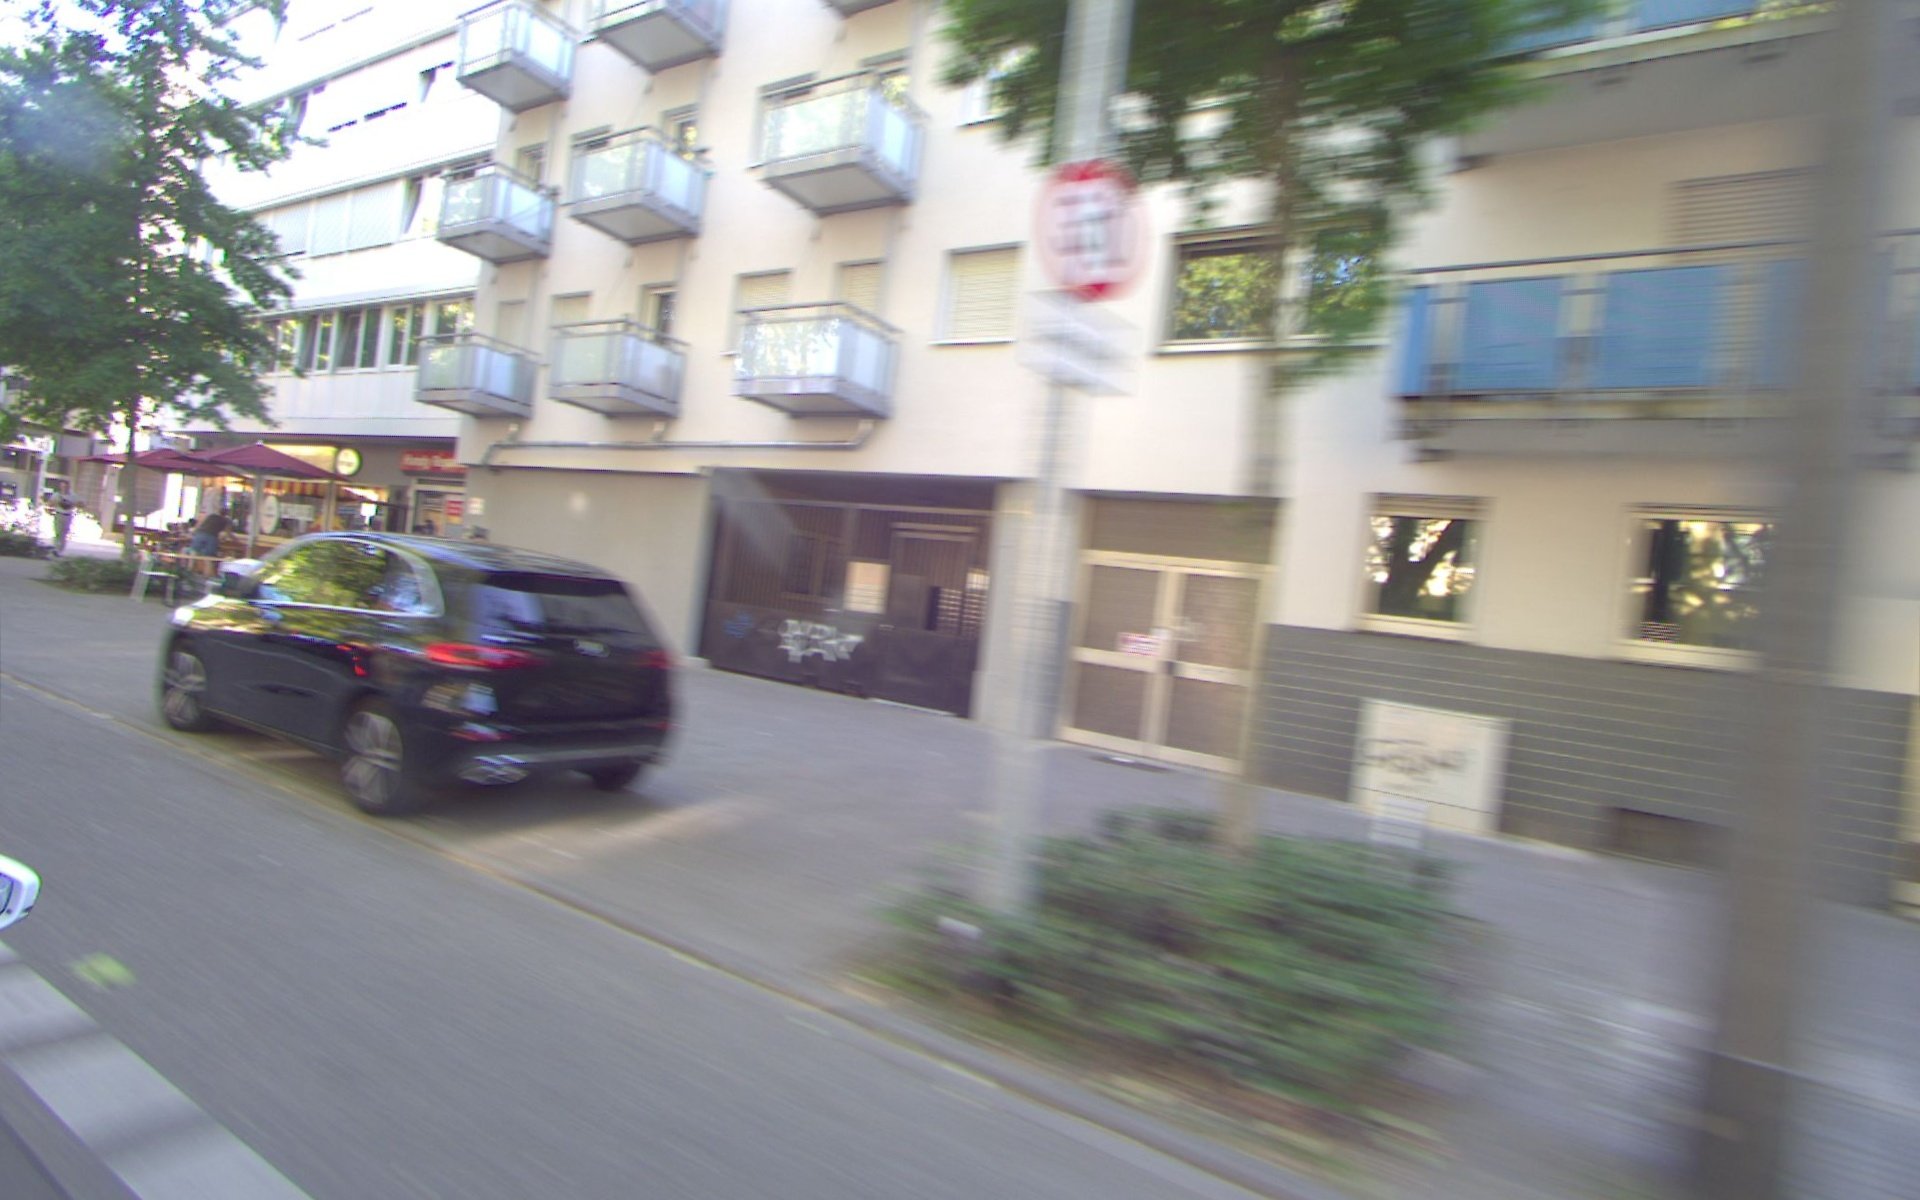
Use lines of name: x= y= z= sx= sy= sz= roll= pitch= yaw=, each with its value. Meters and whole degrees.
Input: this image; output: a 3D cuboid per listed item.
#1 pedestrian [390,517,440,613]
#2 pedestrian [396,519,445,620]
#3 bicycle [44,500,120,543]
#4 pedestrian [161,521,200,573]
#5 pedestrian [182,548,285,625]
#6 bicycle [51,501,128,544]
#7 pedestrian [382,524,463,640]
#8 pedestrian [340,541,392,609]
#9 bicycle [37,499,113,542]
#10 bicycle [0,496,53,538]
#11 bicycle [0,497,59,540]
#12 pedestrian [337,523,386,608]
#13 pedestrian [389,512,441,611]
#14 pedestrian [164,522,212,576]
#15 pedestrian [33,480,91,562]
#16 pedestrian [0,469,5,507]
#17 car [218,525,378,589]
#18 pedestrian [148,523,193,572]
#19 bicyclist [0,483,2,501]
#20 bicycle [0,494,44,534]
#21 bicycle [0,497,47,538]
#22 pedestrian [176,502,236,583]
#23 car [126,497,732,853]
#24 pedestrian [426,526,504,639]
pedestrian: x=-10.832 y=-0.683 z=20.022 sx=0.519 sy=1.826 sz=0.630 roll=7 pitch=-1 yaw=-14
pedestrian: x=-10.121 y=-0.578 z=18.882 sx=0.481 sy=1.817 sz=0.432 roll=7 pitch=-1 yaw=32
bicycle: x=-31.762 y=-2.835 z=36.435 sx=0.502 sy=1.221 sz=1.919 roll=7 pitch=-2 yaw=29
pedestrian: x=-21.256 y=-1.434 z=27.435 sx=0.704 sy=1.302 sz=0.536 roll=7 pitch=-1 yaw=34
pedestrian: x=-11.123 y=-0.186 z=15.437 sx=0.648 sy=1.039 sz=1.003 roll=7 pitch=-1 yaw=12
bicycle: x=-31.241 y=-2.764 z=36.139 sx=0.502 sy=1.222 sz=1.918 roll=9 pitch=0 yaw=29
pedestrian: x=-8.244 y=-0.275 z=15.435 sx=0.855 sy=1.659 sz=0.642 roll=7 pitch=2 yaw=31
pedestrian: x=-12.198 y=-0.509 z=20.678 sx=0.615 sy=1.291 sz=0.509 roll=7 pitch=-1 yaw=-4
bicycle: x=-32.323 y=-2.893 z=36.764 sx=0.502 sy=1.221 sz=1.919 roll=6 pitch=-2 yaw=29
bicycle: x=-32.261 y=-2.856 z=34.250 sx=0.502 sy=1.222 sz=1.917 roll=8 pitch=0 yaw=29
bicycle: x=-31.804 y=-2.778 z=33.959 sx=0.502 sy=1.222 sz=1.917 roll=8 pitch=0 yaw=29
pedestrian: x=-12.285 y=-0.696 z=20.664 sx=0.509 sy=1.647 sz=0.507 roll=7 pitch=-1 yaw=-5
pedestrian: x=-11.355 y=-0.810 z=20.948 sx=0.781 sy=1.977 sz=0.505 roll=7 pitch=-1 yaw=42
pedestrian: x=-18.589 y=-1.223 z=24.213 sx=0.513 sy=1.189 sz=0.660 roll=7 pitch=-1 yaw=31
pedestrian: x=-21.213 y=-1.873 z=23.758 sx=0.979 sy=1.805 sz=0.591 roll=7 pitch=-1 yaw=32
pedestrian: x=-17.116 y=-1.464 z=17.055 sx=0.867 sy=1.779 sz=1.042 roll=8 pitch=-1 yaw=-24
car: x=-23.476 y=-1.480 z=35.856 sx=1.933 sy=1.610 sz=4.261 roll=6 pitch=-2 yaw=27
pedestrian: x=-19.492 y=-1.299 z=24.836 sx=0.513 sy=1.091 sz=0.643 roll=7 pitch=-1 yaw=31
bicyclist: x=-25.459 y=-2.236 z=26.018 sx=0.950 sy=1.737 sz=0.677 roll=7 pitch=-1 yaw=35
bicycle: x=-33.128 y=-3.047 z=34.856 sx=0.502 sy=1.222 sz=1.917 roll=8 pitch=0 yaw=29
bicycle: x=-32.712 y=-2.888 z=34.519 sx=0.502 sy=1.222 sz=1.918 roll=8 pitch=0 yaw=29
pedestrian: x=-16.822 y=-1.271 z=22.455 sx=0.669 sy=1.678 sz=0.811 roll=8 pitch=-1 yaw=-18
car: x=-3.781 y=0.288 z=6.907 sx=4.258 sy=1.609 sz=1.758 roll=7 pitch=3 yaw=33
pedestrian: x=-7.899 y=-0.276 z=16.045 sx=0.919 sy=1.700 sz=0.596 roll=7 pitch=2 yaw=31
